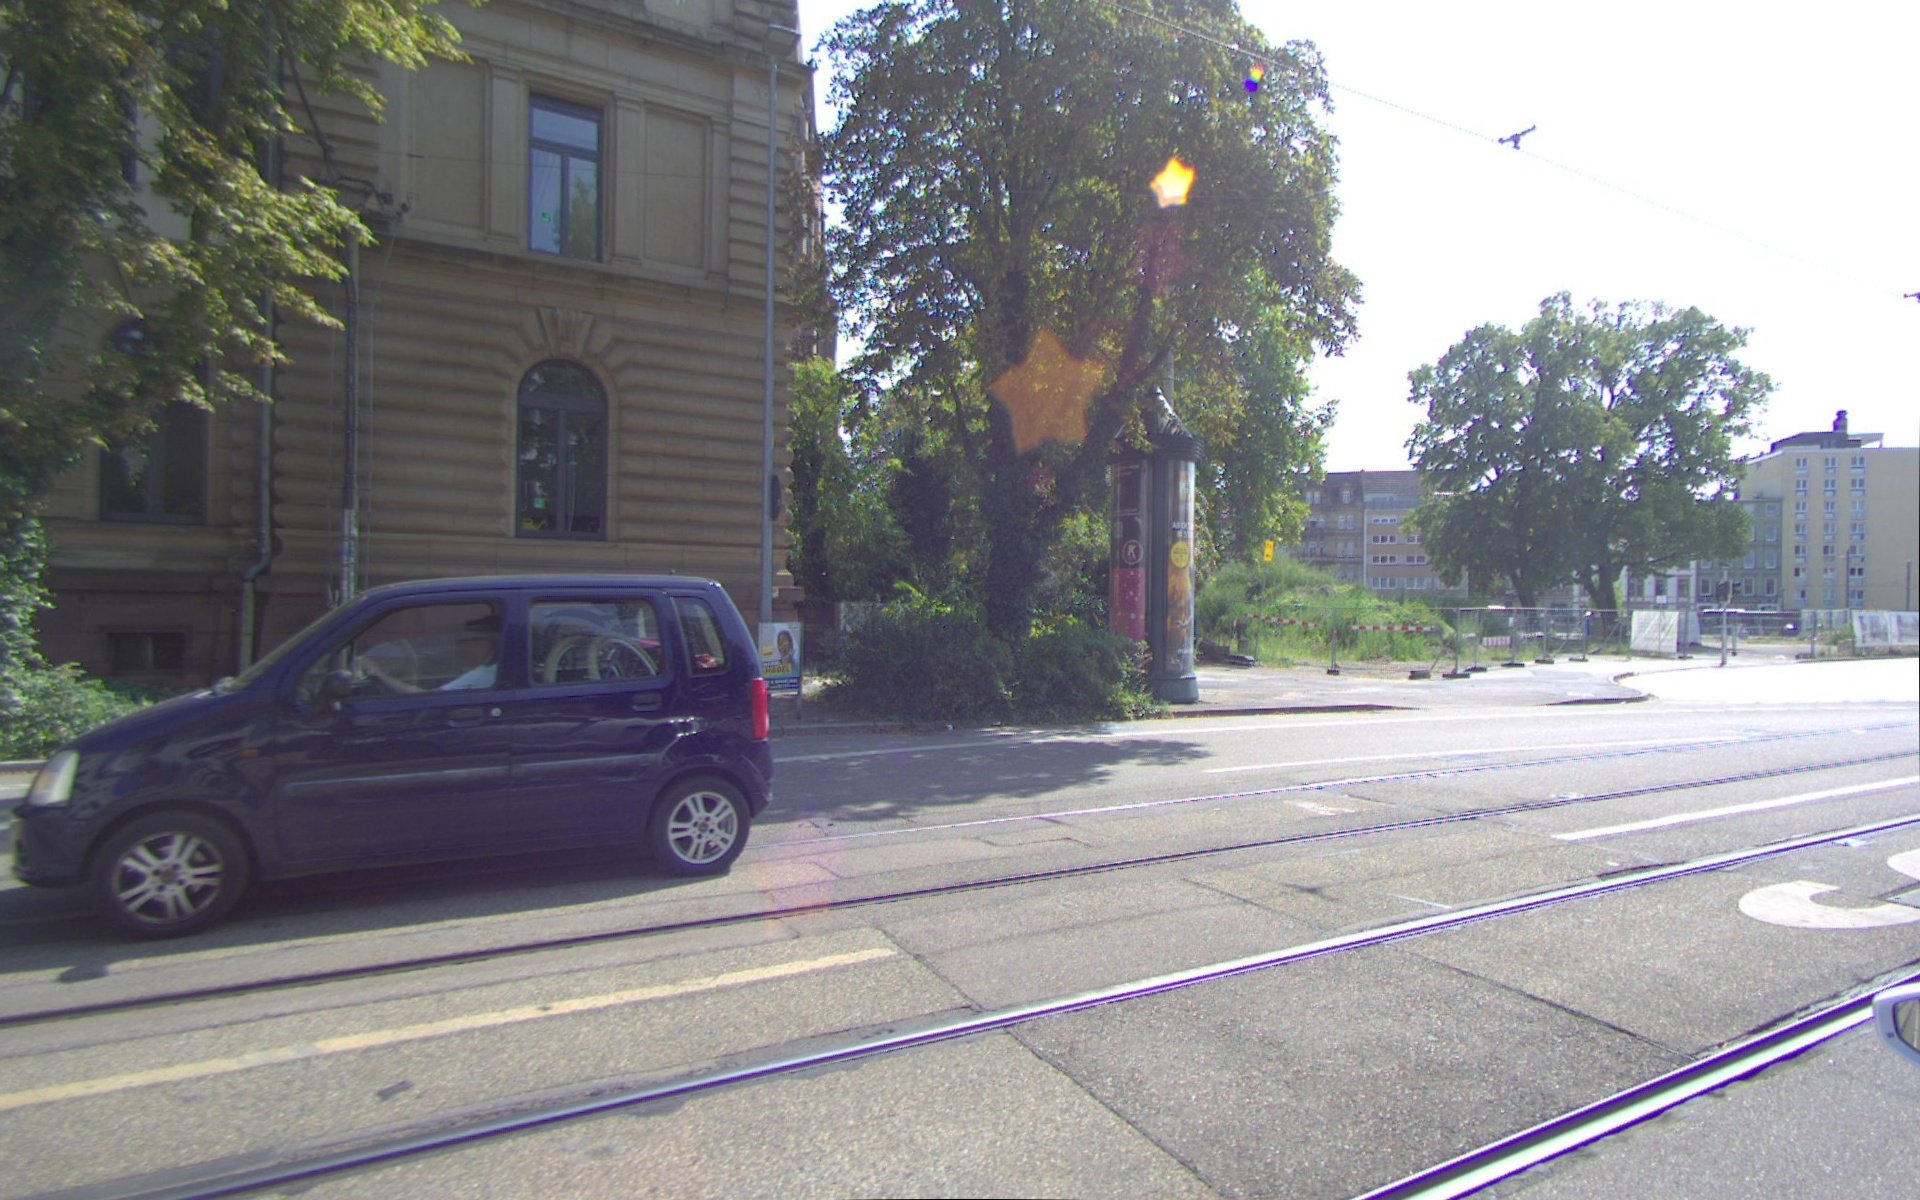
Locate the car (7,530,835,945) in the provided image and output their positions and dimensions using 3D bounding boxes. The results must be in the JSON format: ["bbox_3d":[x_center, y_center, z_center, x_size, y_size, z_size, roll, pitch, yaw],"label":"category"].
[{"bbox_3d":[-2.675,0.590,5.655,3.537,1.677,1.684,1,0,-29],"label":"car"}]
